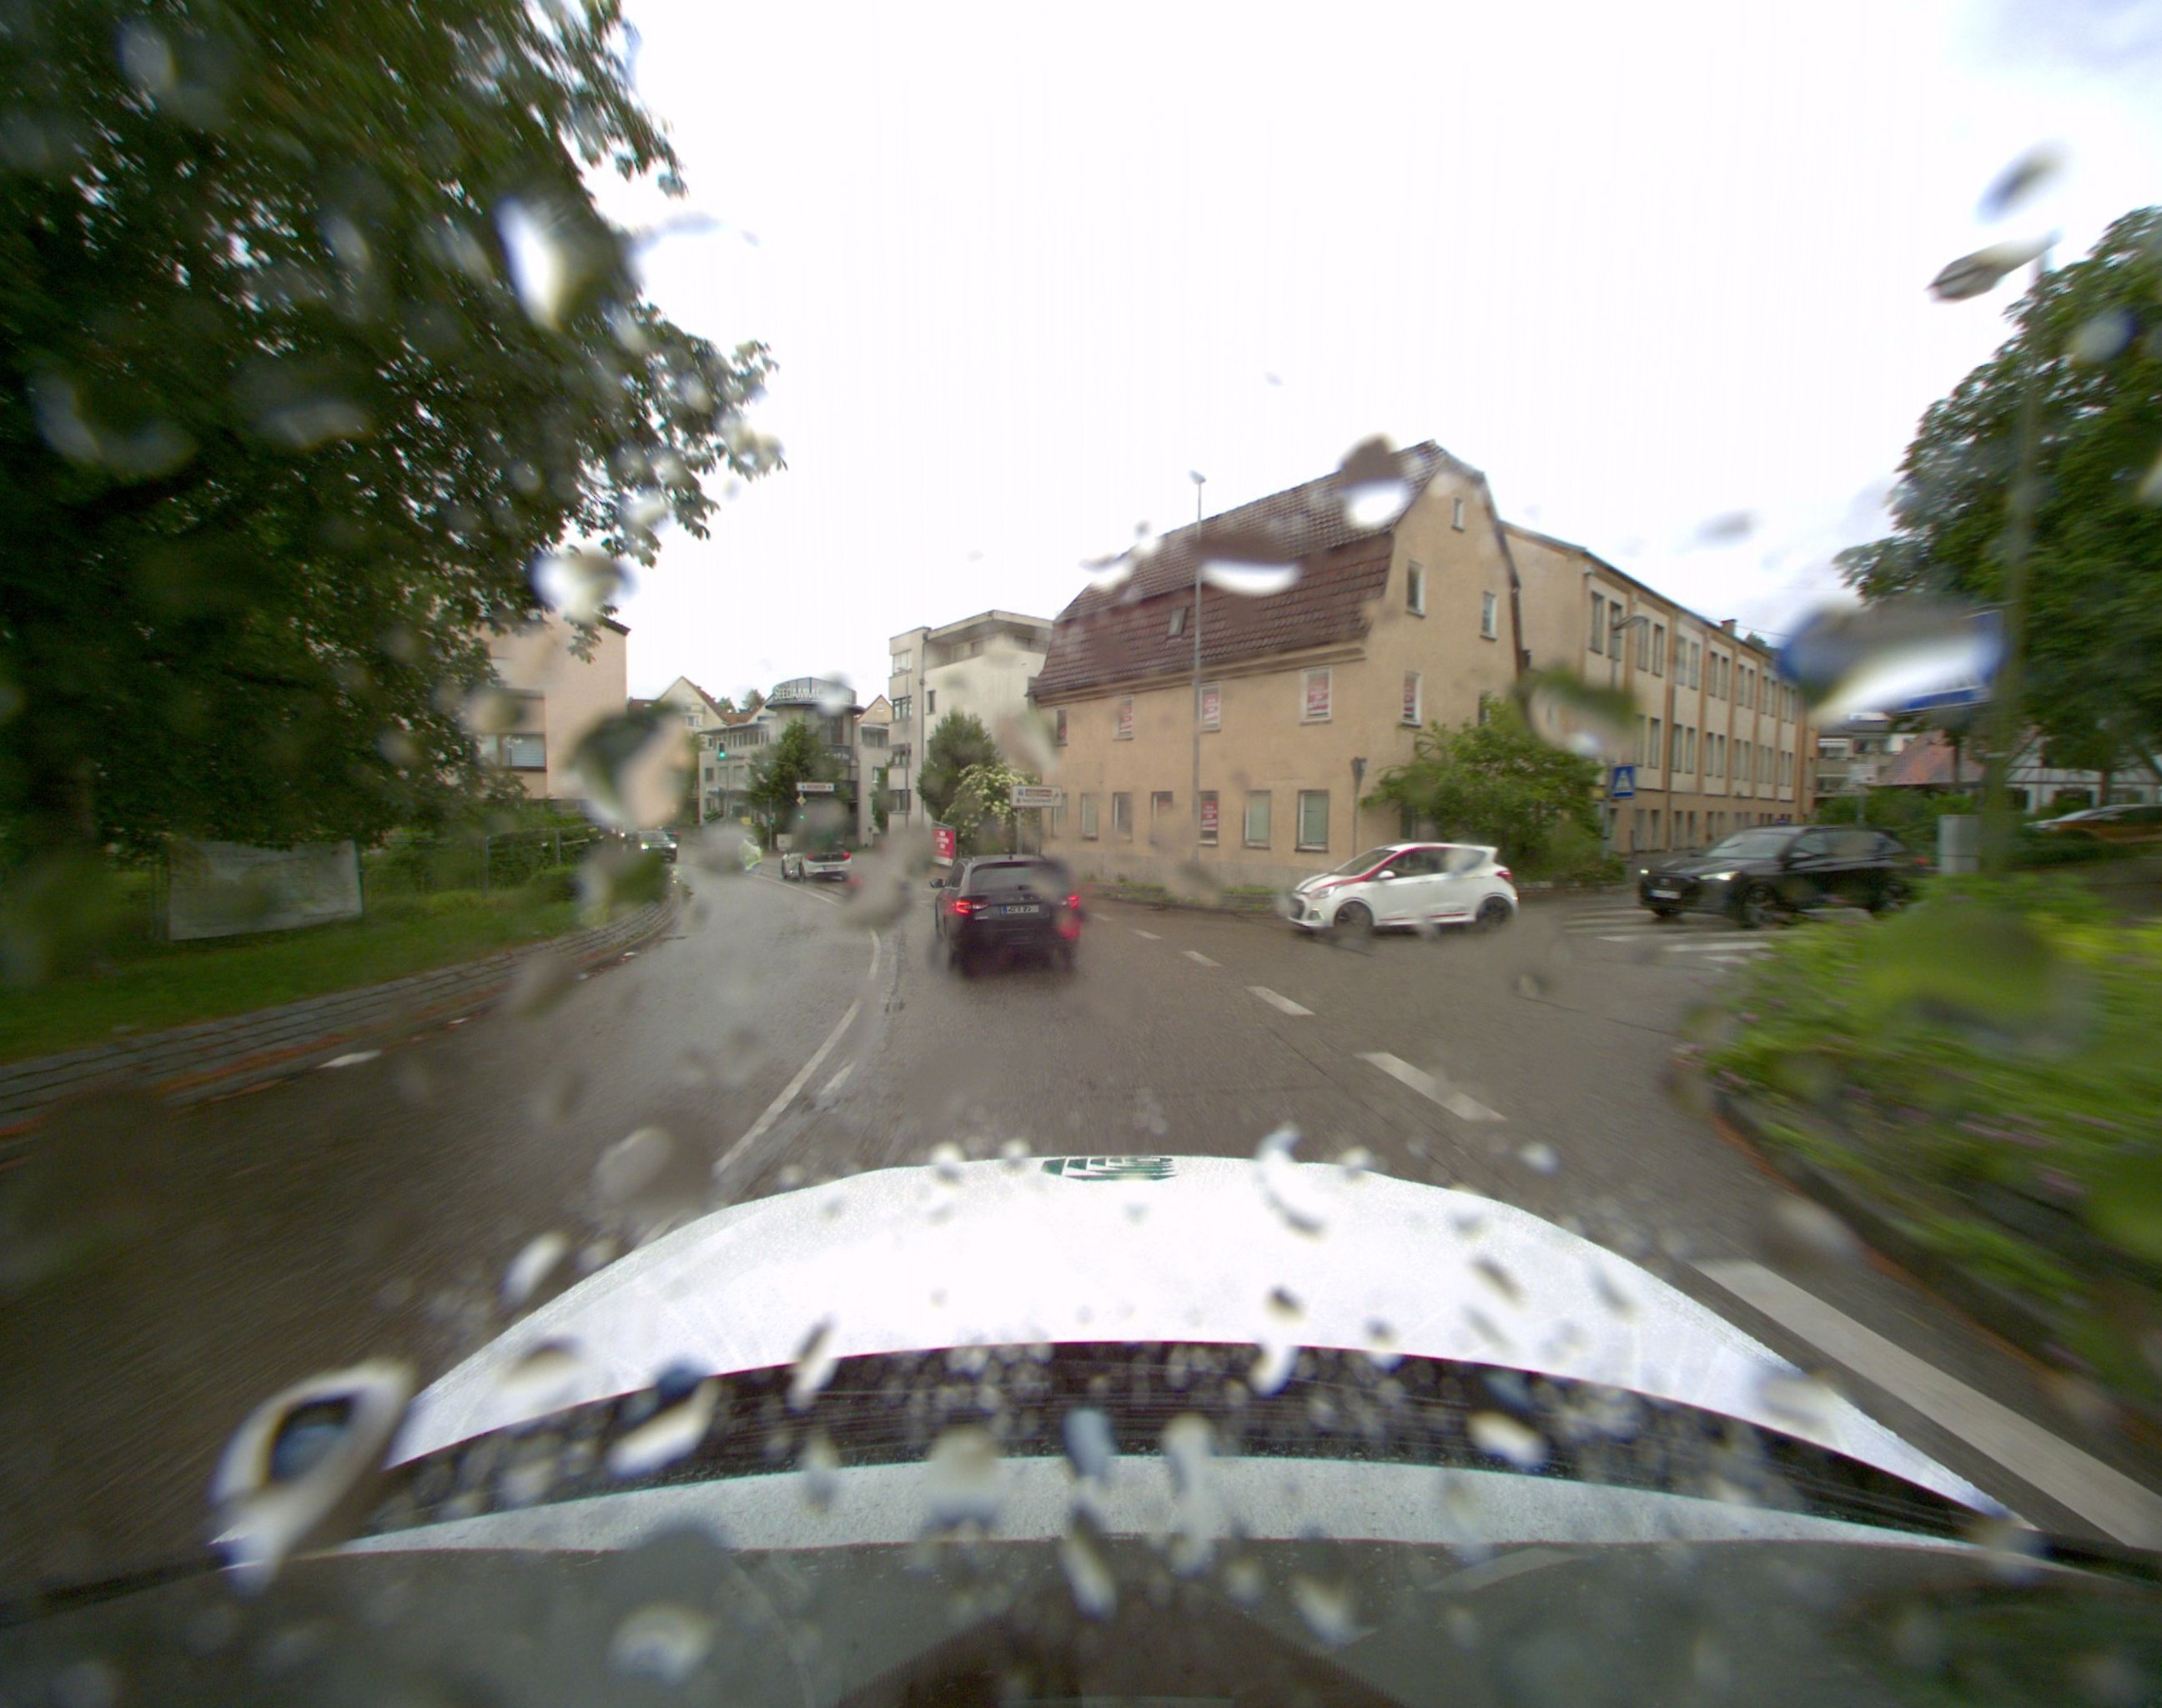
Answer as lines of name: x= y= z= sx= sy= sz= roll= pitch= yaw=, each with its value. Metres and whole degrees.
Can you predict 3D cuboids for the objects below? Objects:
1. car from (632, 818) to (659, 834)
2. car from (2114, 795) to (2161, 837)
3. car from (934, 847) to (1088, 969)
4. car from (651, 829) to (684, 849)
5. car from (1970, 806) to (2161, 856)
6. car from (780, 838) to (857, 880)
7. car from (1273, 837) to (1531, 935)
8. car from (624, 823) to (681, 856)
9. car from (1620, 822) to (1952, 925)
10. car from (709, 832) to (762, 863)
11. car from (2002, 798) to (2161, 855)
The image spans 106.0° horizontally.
car: x=-48.270 y=-3.154 z=90.304 sx=1.868 sy=1.640 sz=3.497 roll=-4 pitch=5 yaw=-41
car: x=44.949 y=-1.534 z=32.621 sx=1.800 sy=1.667 sz=4.044 roll=1 pitch=2 yaw=-8
car: x=-1.240 y=0.715 z=12.395 sx=1.783 sy=1.483 sz=4.227 roll=-1 pitch=-1 yaw=-12
car: x=-34.757 y=-1.294 z=68.427 sx=1.907 sy=1.590 sz=3.650 roll=-3 pitch=3 yaw=-34
car: x=33.131 y=-0.772 z=27.201 sx=4.362 sy=1.572 sz=1.730 roll=0 pitch=2 yaw=36
car: x=-9.890 y=0.137 z=30.489 sx=1.830 sy=1.359 sz=3.950 roll=-1 pitch=3 yaw=-32
car: x=5.382 y=0.489 z=13.947 sx=3.742 sy=1.453 sz=1.711 roll=-1 pitch=2 yaw=-3
car: x=-23.185 y=-0.822 z=43.982 sx=1.909 sy=1.595 sz=4.306 roll=-5 pitch=4 yaw=-37
car: x=12.033 y=0.277 z=14.073 sx=4.394 sy=1.572 sz=1.718 roll=-1 pitch=2 yaw=-3
car: x=-18.437 y=-0.320 z=43.375 sx=1.741 sy=1.590 sz=4.138 roll=0 pitch=0 yaw=-36
car: x=29.727 y=-0.810 z=23.686 sx=1.728 sy=1.572 sz=3.859 roll=-3 pitch=3 yaw=-40
